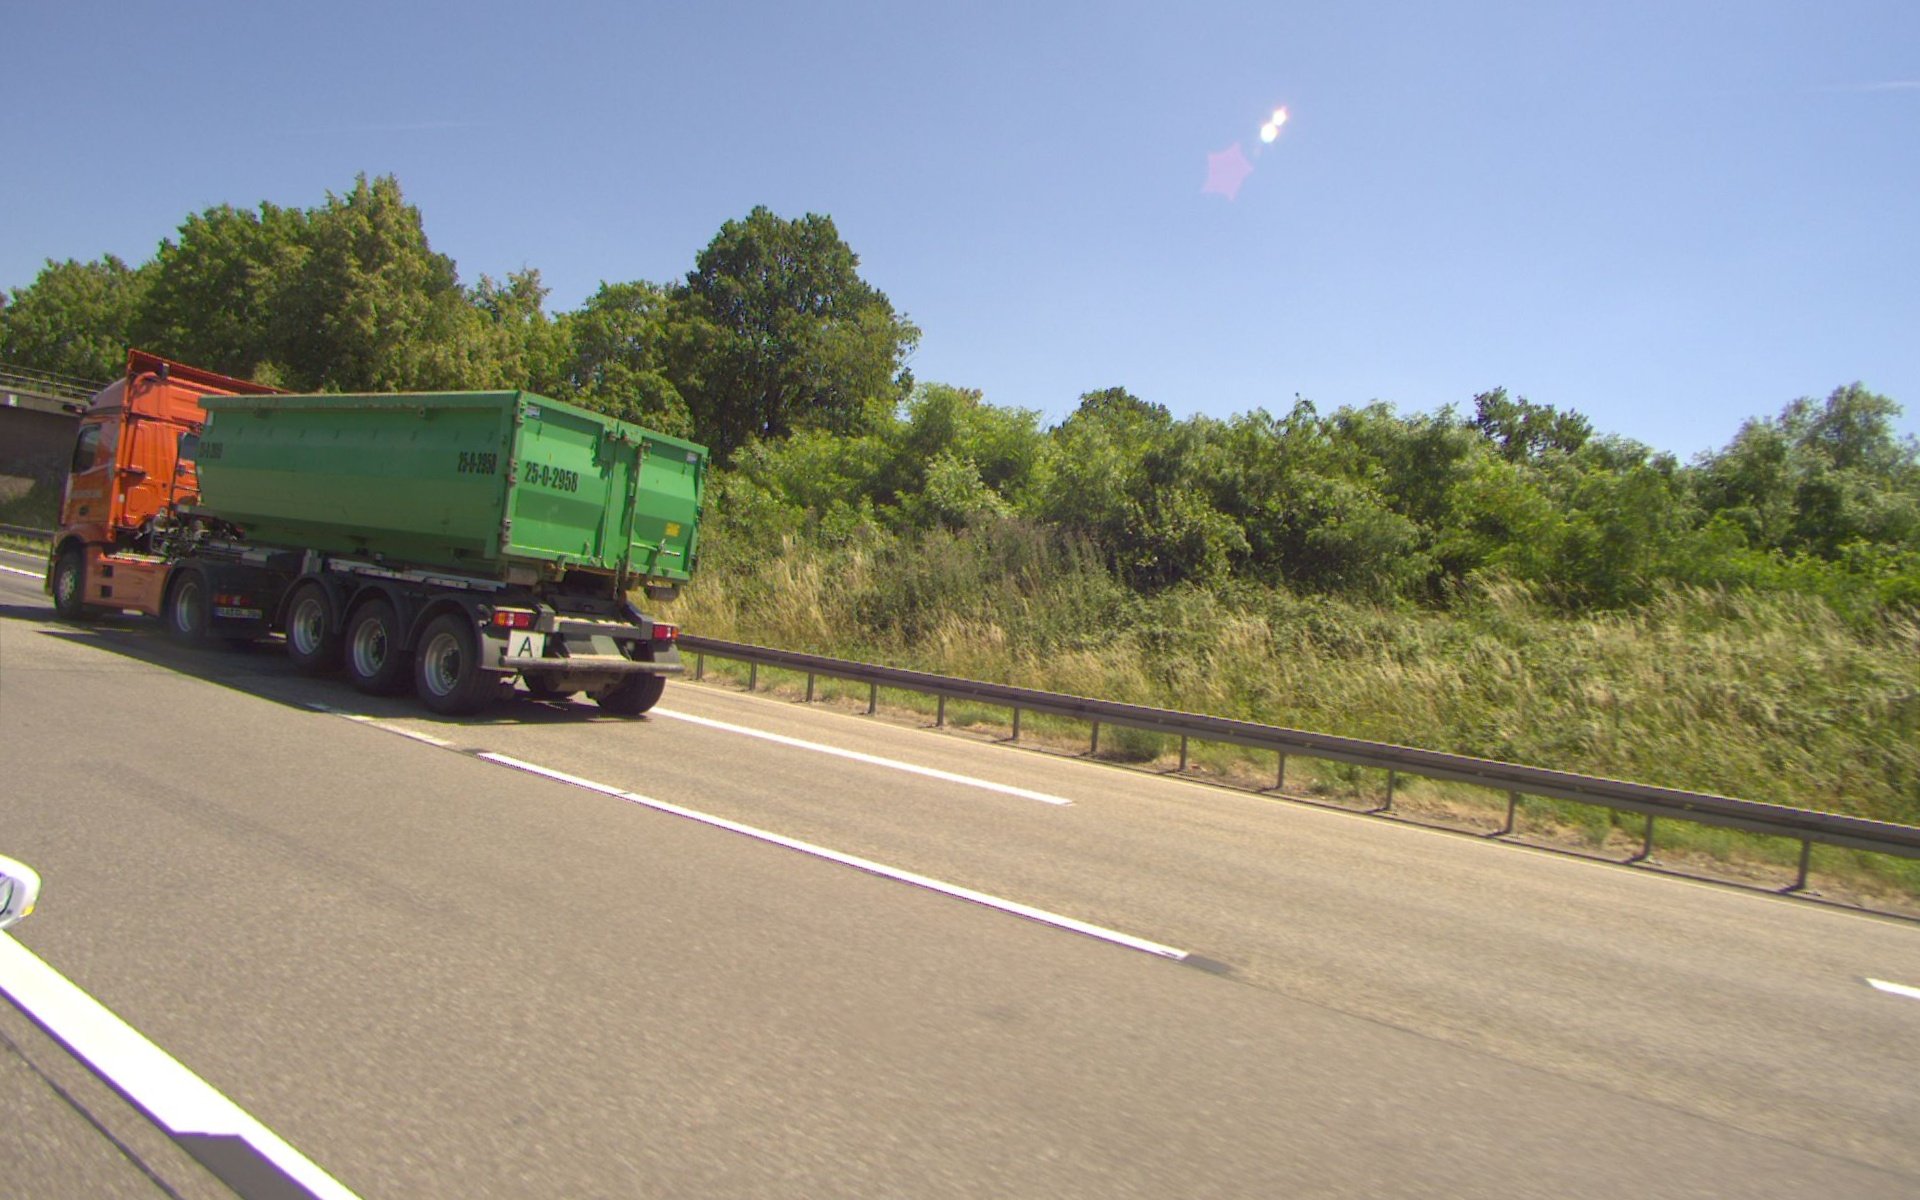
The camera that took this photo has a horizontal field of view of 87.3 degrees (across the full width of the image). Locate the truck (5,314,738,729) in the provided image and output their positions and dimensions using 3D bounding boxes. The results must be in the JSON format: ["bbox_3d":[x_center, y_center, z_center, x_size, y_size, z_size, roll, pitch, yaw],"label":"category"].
[{"bbox_3d":[-8.672,-1.188,13.574,12.270,3.842,2.686,7,-1,31],"label":"truck"}]
